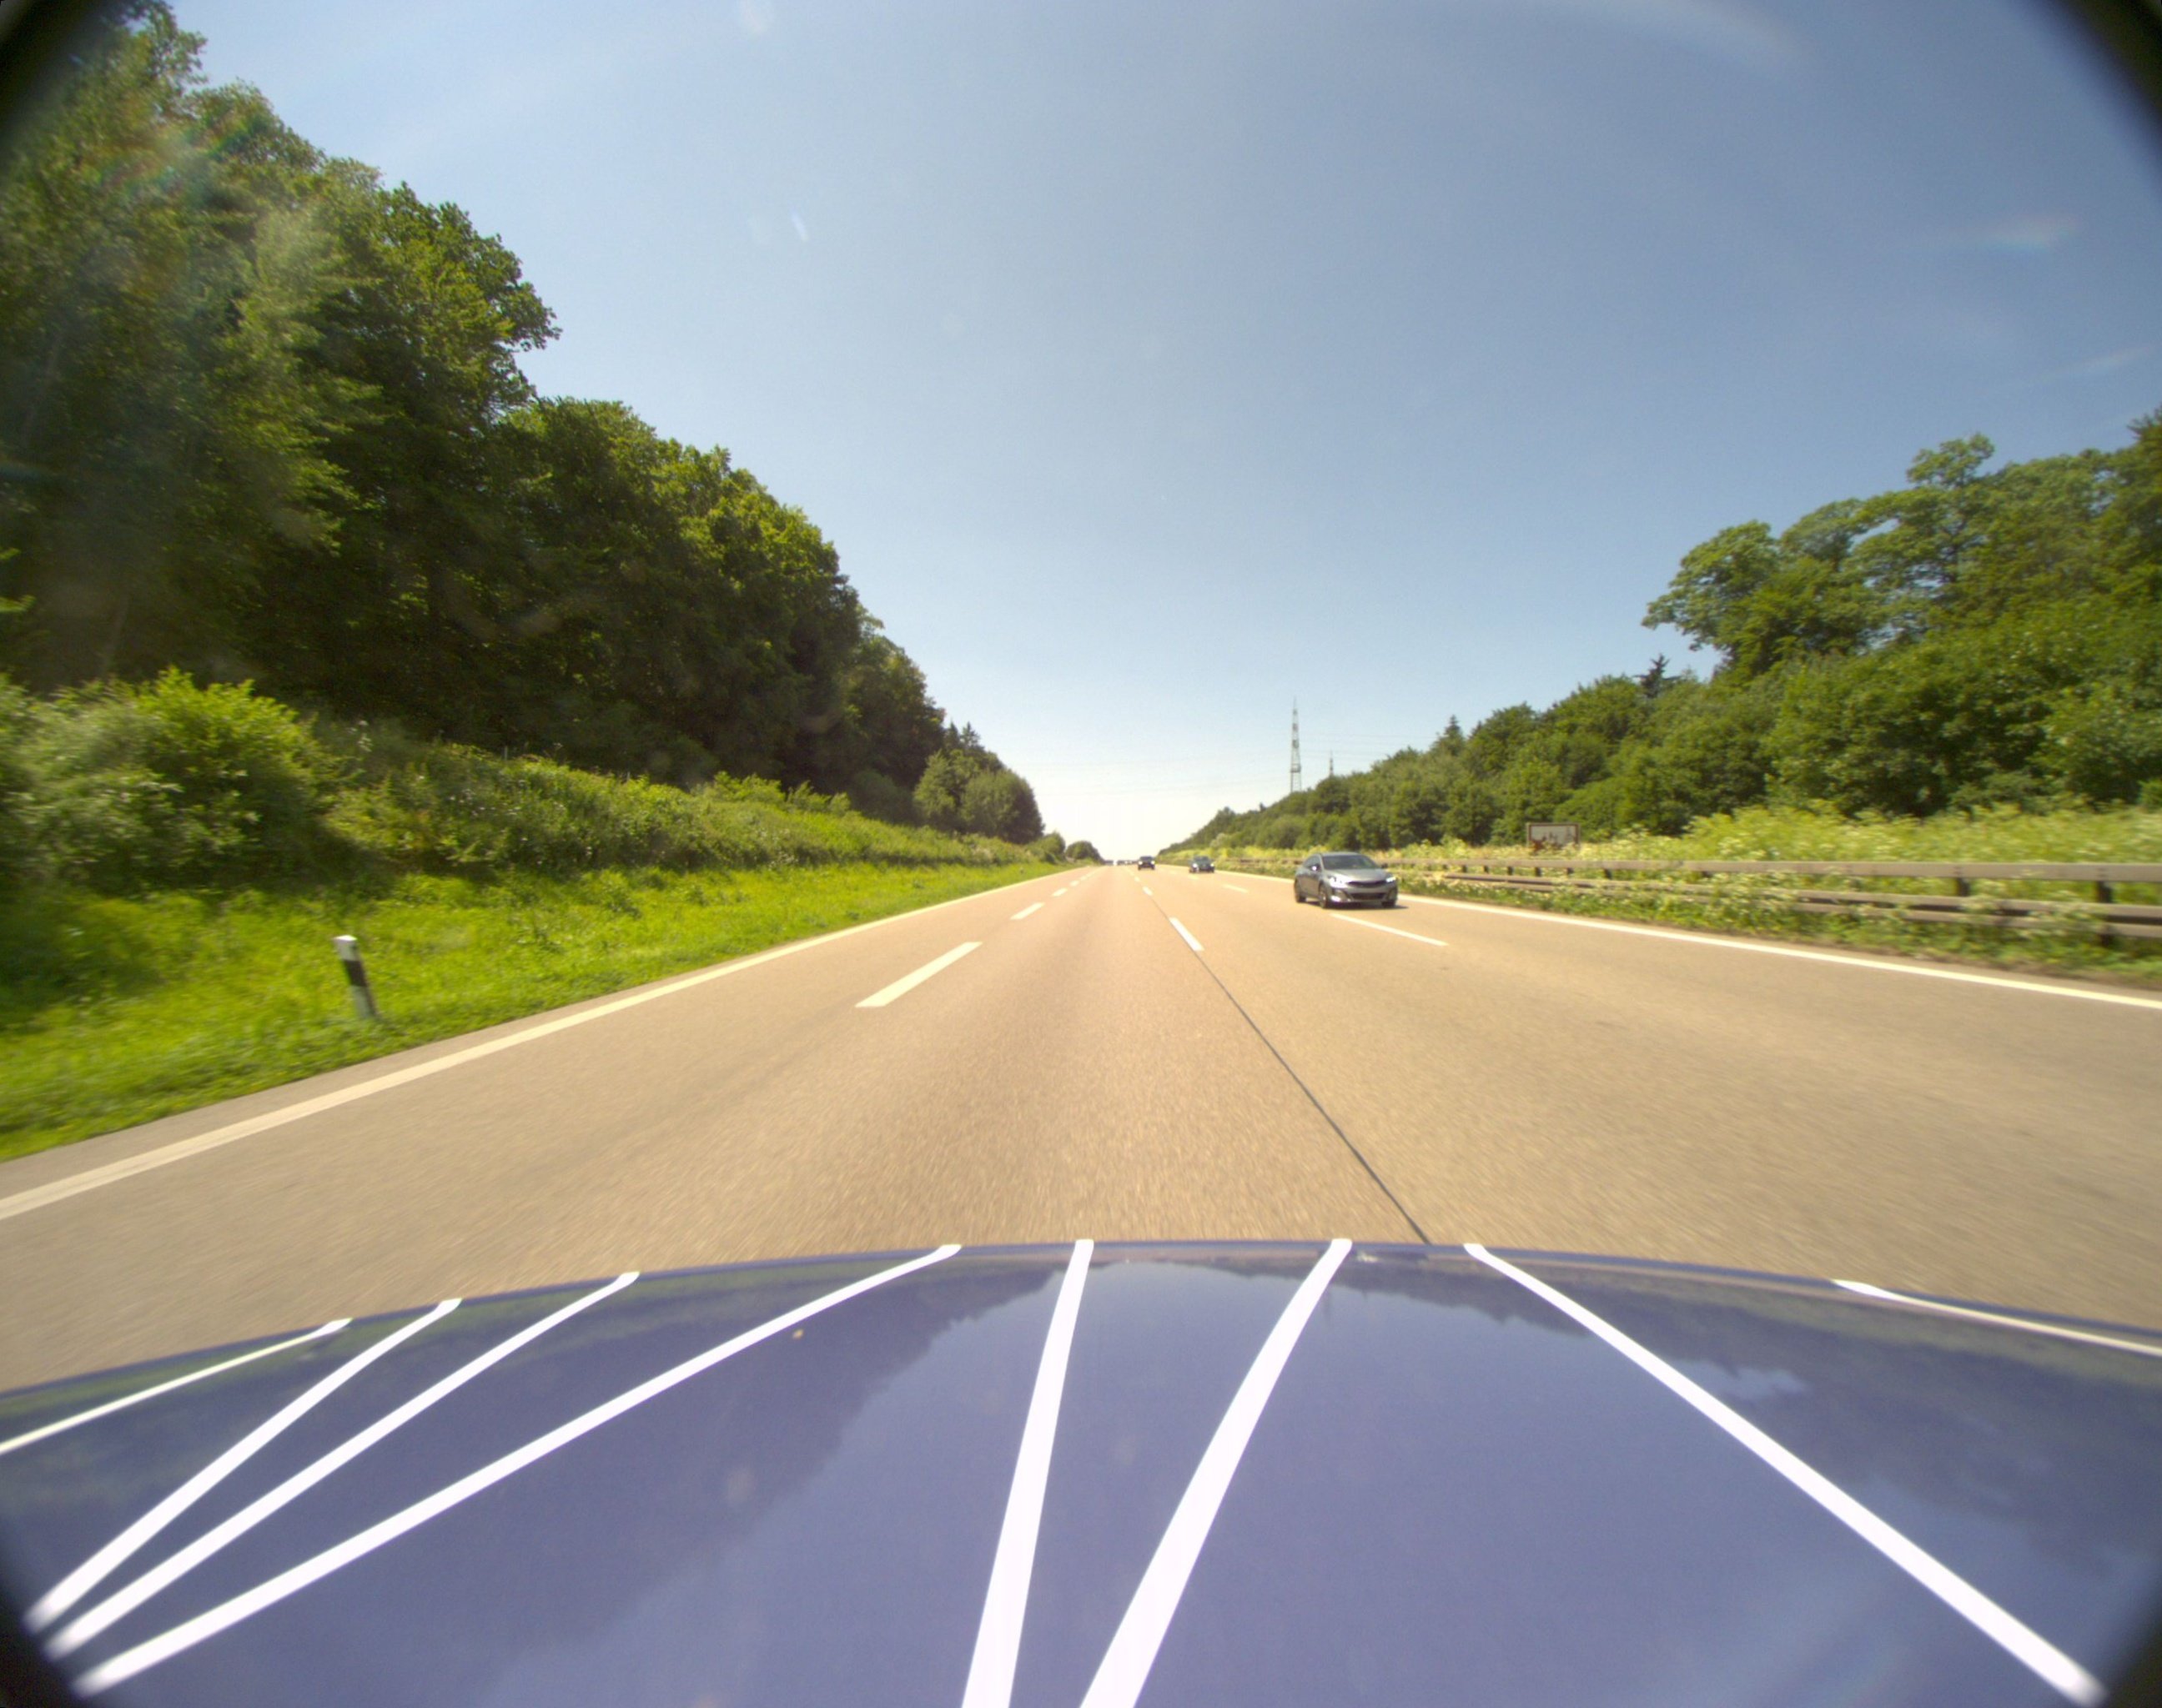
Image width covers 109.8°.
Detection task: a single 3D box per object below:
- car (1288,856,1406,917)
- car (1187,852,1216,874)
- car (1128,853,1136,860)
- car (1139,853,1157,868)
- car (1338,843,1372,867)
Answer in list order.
[{"bbox_3d":[6.991,0.785,20.429,1.768,1.400,3.999,-2,0,1],"label":"car"},{"bbox_3d":[9.854,0.711,62.254,1.741,1.610,3.943,-2,0,1],"label":"car"},{"bbox_3d":[14.950,0.721,222.866,1.998,2.002,4.000,-2,0,1],"label":"car"},{"bbox_3d":[7.685,0.713,87.771,1.787,1.550,3.943,-2,0,1],"label":"car"},{"bbox_3d":[24.071,0.078,66.948,1.703,2.002,3.617,-2,0,1],"label":"car"}]
